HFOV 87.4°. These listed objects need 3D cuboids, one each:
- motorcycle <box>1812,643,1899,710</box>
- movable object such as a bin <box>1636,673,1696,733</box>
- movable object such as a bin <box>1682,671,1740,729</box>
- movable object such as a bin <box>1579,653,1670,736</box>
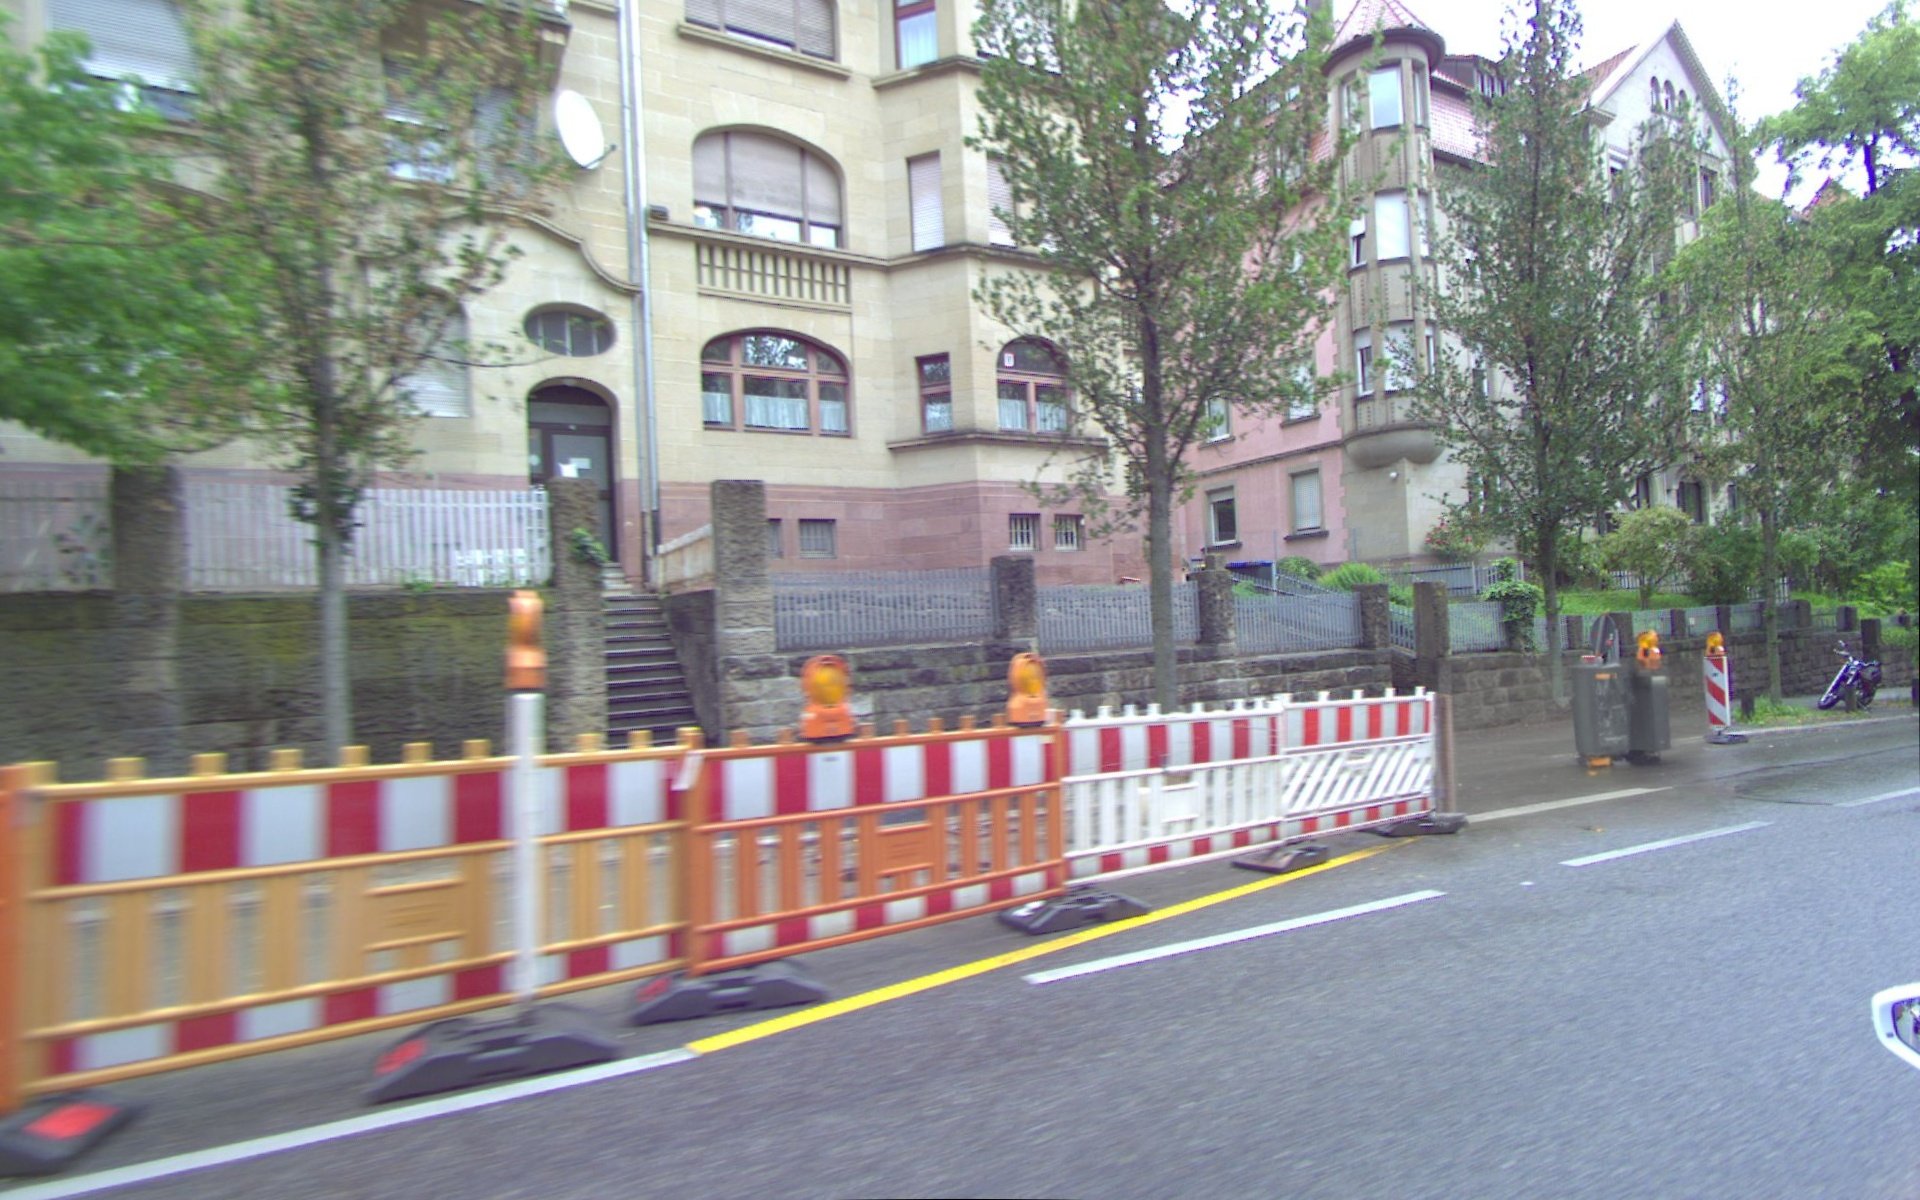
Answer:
[{"bbox_3d":[19.225,1.615,21.547,2.177,1.363,0.762,2,-1,-31],"label":"motorcycle"},{"bbox_3d":[11.587,1.680,16.500,0.616,0.920,0.601,0,0,-29],"label":"movable object such as a bin"},{"bbox_3d":[12.822,1.702,17.151,0.616,0.920,0.601,0,0,-29],"label":"movable object such as a bin"},{"bbox_3d":[10.688,1.498,16.160,0.845,1.230,0.941,0,0,-29],"label":"movable object such as a bin"}]
